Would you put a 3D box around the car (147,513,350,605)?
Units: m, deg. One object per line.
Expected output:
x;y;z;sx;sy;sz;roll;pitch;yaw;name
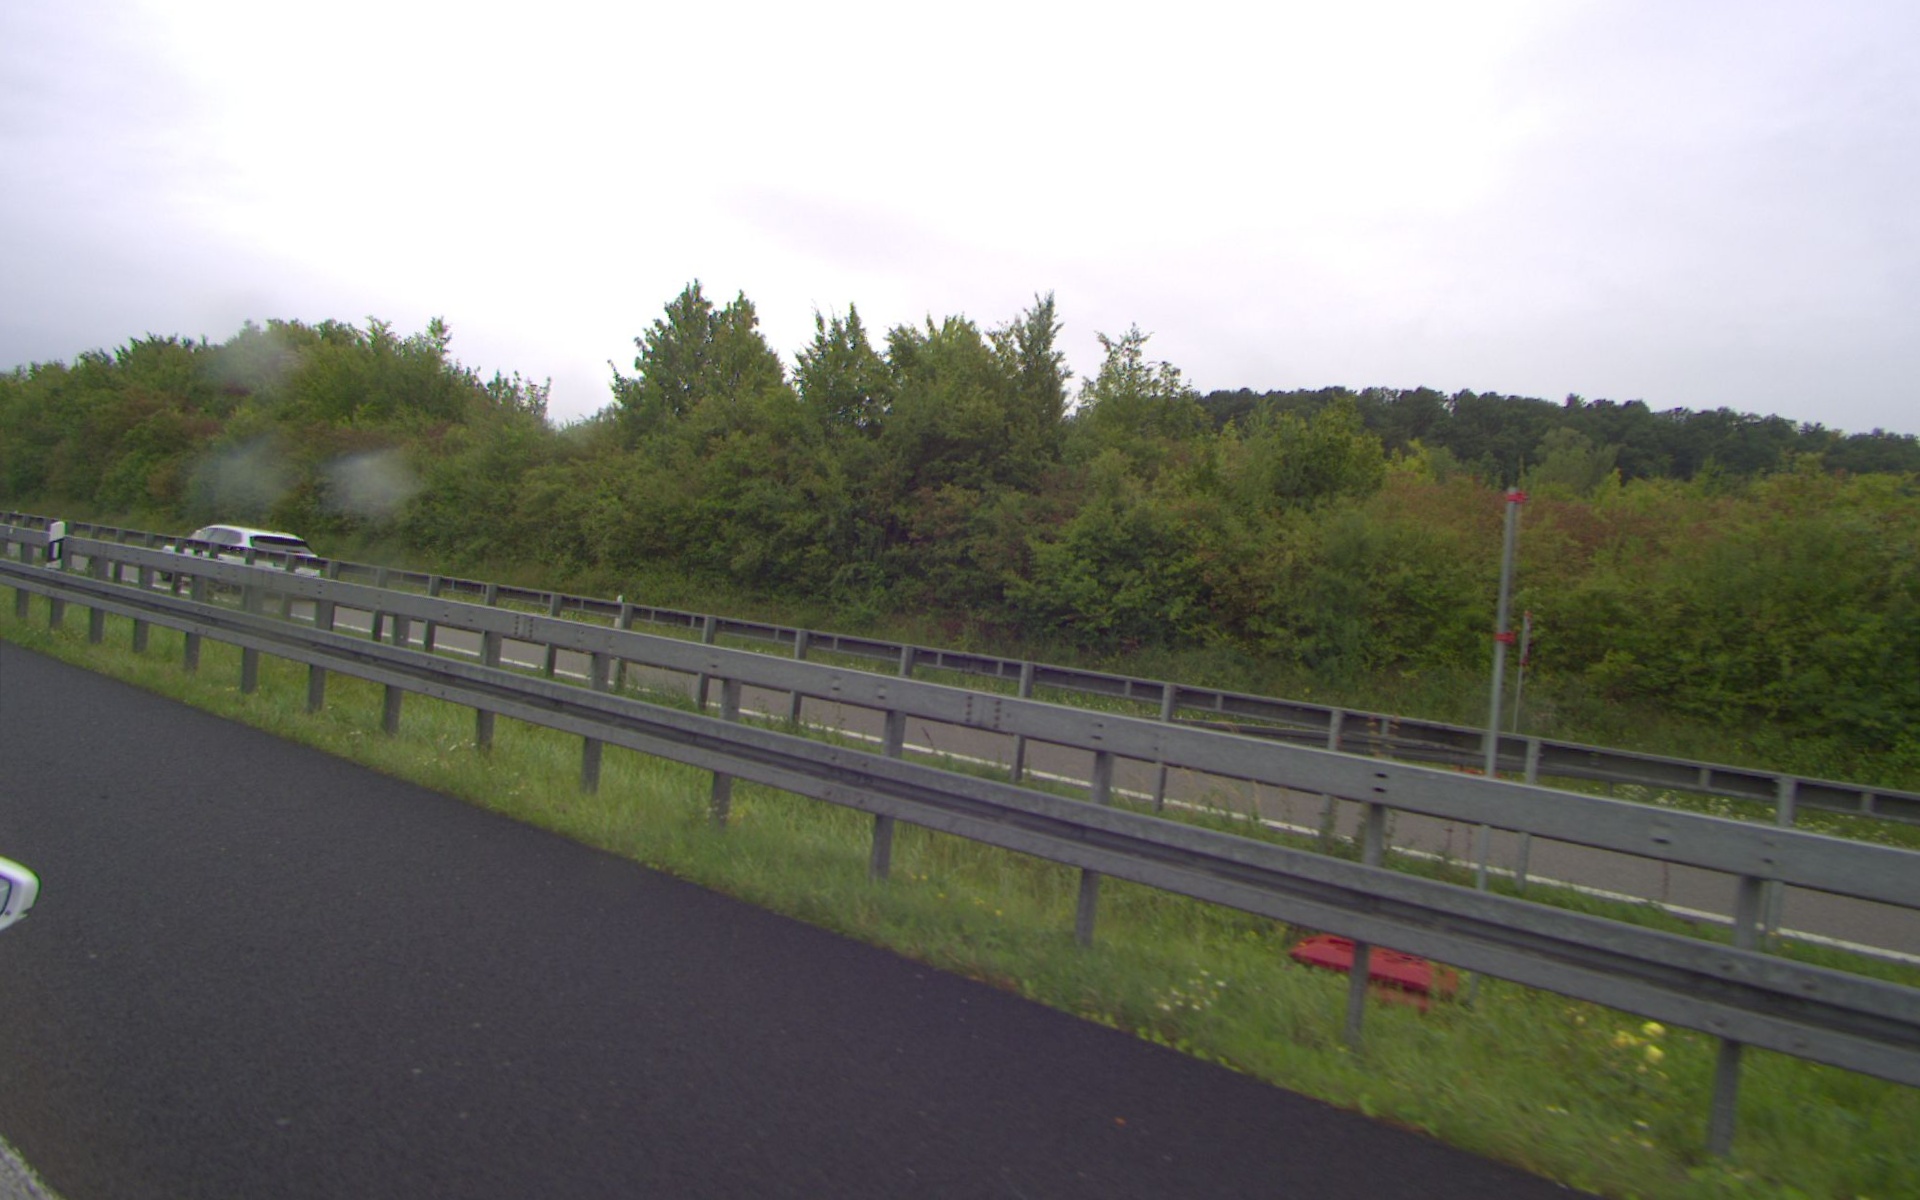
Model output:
-16.745;-0.972;23.638;4.616;1.566;2.012;7;-1;30;car
